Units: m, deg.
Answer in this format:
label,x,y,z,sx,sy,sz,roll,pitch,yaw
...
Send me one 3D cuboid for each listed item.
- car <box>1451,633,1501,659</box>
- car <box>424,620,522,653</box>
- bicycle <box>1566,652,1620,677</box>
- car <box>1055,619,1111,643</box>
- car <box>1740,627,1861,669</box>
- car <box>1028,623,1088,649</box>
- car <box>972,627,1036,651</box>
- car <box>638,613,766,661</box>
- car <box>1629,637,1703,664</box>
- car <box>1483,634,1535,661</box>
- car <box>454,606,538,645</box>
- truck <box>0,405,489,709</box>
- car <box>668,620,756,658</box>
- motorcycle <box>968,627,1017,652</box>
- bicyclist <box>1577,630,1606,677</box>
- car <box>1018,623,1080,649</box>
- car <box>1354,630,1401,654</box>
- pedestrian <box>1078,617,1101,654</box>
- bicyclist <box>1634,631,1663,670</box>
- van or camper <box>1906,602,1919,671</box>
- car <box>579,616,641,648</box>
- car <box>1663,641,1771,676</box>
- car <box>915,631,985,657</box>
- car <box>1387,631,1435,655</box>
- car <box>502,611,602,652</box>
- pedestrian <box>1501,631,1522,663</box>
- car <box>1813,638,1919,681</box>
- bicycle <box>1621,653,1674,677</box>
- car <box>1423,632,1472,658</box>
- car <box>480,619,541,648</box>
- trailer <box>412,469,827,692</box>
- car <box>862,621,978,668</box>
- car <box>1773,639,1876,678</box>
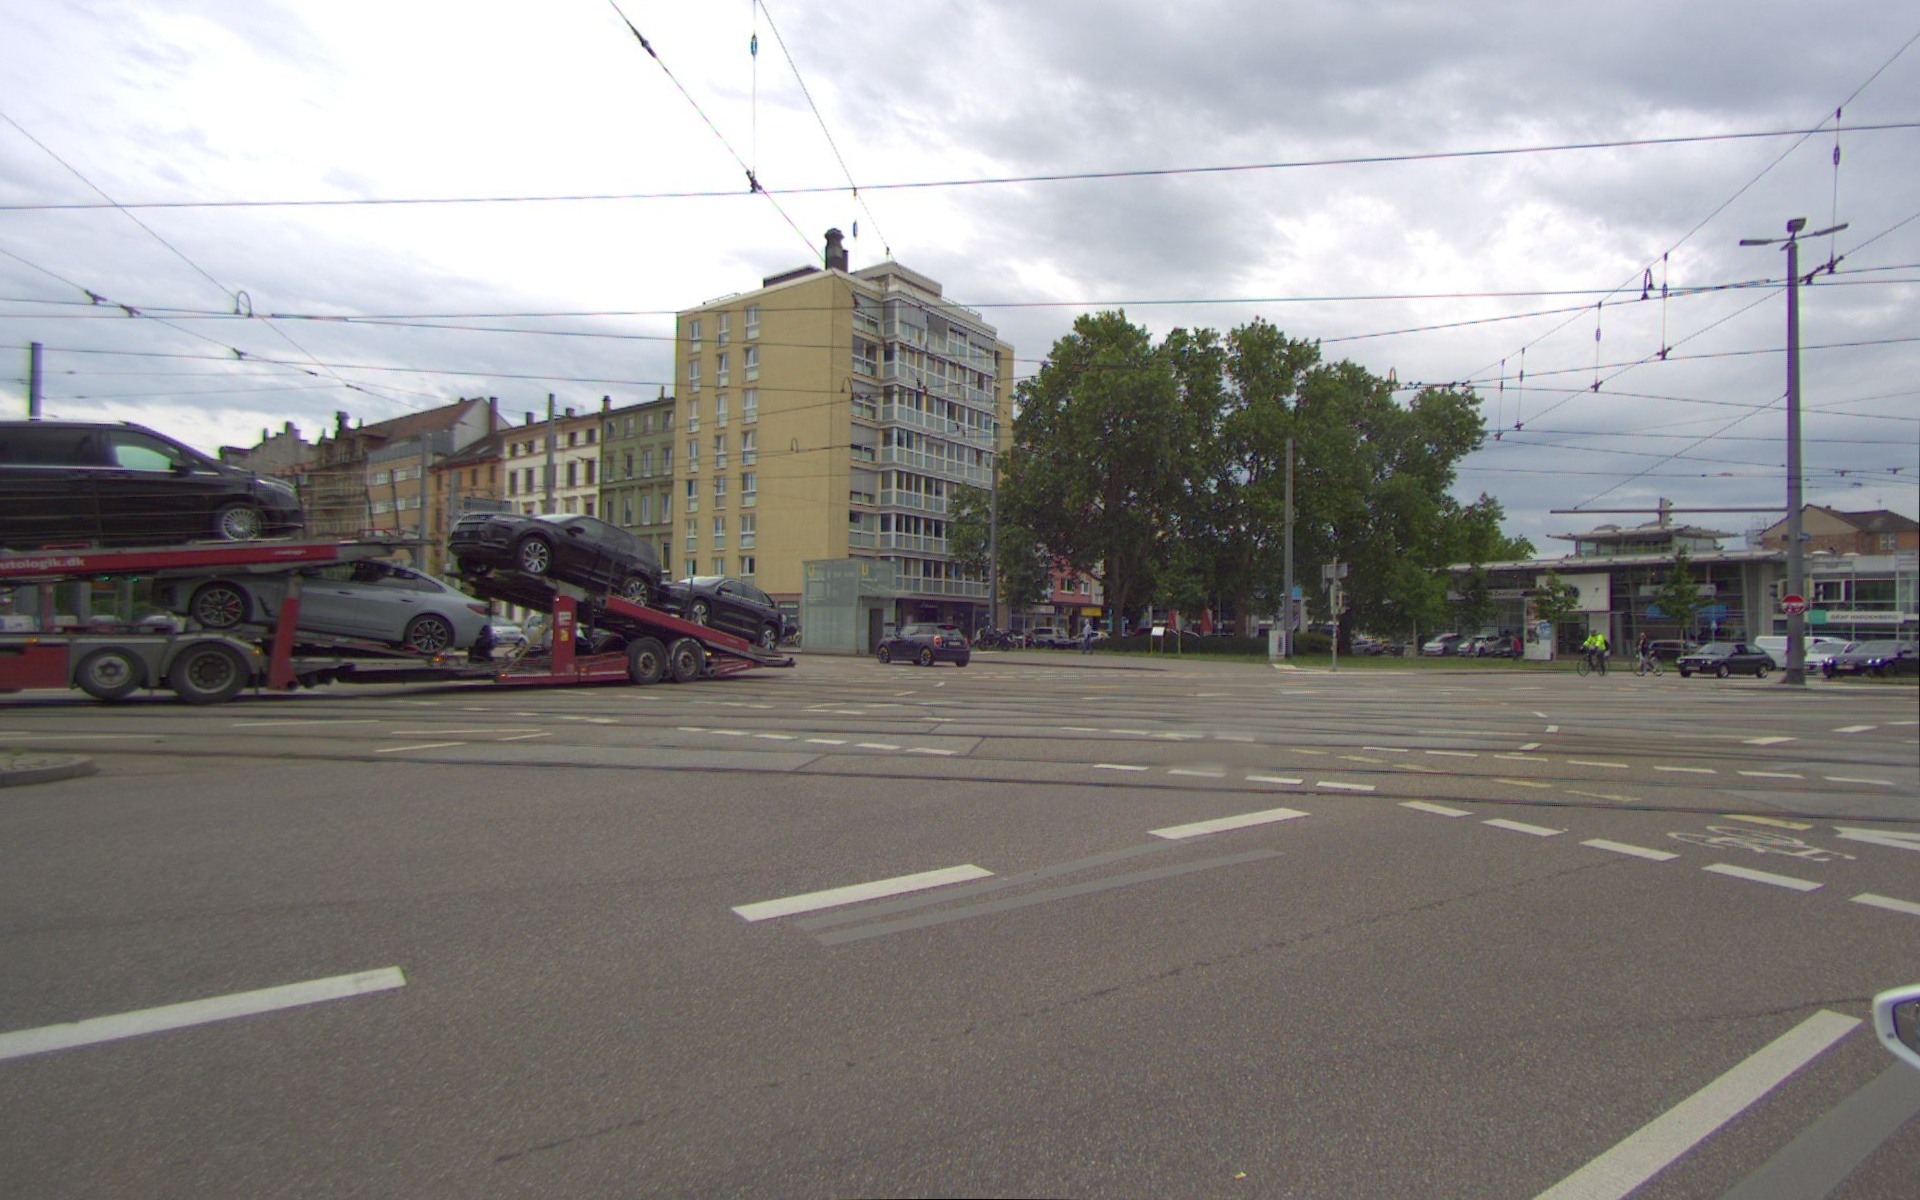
label,x,y,z,sx,sy,sz,roll,pitch,yaw
car,42.859,3.792,83.356,3.957,2.040,1.982,2,-1,-33
car,-21.213,1.580,43.769,3.929,1.327,1.996,0,-2,31
bicycle,24.940,2.527,39.571,2.187,0.942,0.518,1,-1,-17
car,9.696,2.442,79.231,3.931,1.728,1.995,1,-1,33
car,46.556,2.629,55.786,2.089,2.040,4.758,2,-1,-20
car,7.309,2.662,74.816,3.931,1.728,1.995,1,-1,33
car,3.044,2.639,68.996,3.932,1.572,1.995,0,-2,33
car,-8.770,1.221,33.981,4.612,1.513,1.989,-1,-2,43
car,40.377,2.889,57.436,3.679,1.439,1.634,1,-1,-19
car,44.188,3.798,80.843,3.957,2.040,1.982,2,-1,-33
car,-22.923,1.238,49.587,3.933,1.751,1.994,1,-1,34
truck,-12.903,-0.548,14.757,10.366,3.972,2.982,2,-1,-39
car,-11.093,1.713,44.885,3.939,1.514,1.815,1,-1,40
motorcycle,1.687,2.063,52.585,2.507,1.194,0.861,1,-1,37
bicyclist,24.893,2.088,39.580,0.784,1.827,0.627,1,-1,-17
car,6.405,2.584,72.493,3.931,1.728,1.995,1,-1,33
car,37.694,3.785,90.683,3.957,2.040,1.982,2,-1,-33
pedestrian,6.321,1.724,49.058,0.898,1.742,0.707,1,-1,24
bicyclist,27.788,2.029,40.556,0.843,1.528,0.565,0,-1,-17
van or camper,40.123,1.515,39.136,5.962,2.645,2.411,2,-1,-21
car,-20.367,1.840,58.675,2.040,1.778,4.001,2,-1,2
car,29.103,2.248,38.626,3.683,1.263,1.683,1,-1,-22
car,-0.655,2.719,62.554,3.932,1.572,1.995,0,-2,33
car,39.452,3.774,87.898,3.957,2.040,1.982,2,-1,-33
car,-16.217,1.242,39.930,3.559,1.513,1.995,1,-1,33
pedestrian,34.089,2.880,62.069,0.846,1.925,0.708,2,0,-8
car,33.372,2.143,36.293,4.594,1.439,1.990,1,-1,-22
bicycle,27.765,2.614,40.546,2.187,0.938,0.518,1,-1,-17
car,41.436,3.820,85.420,3.957,2.040,1.982,2,-1,-33
car,-29.353,2.145,65.737,2.040,1.778,4.001,2,-1,2
trailer,-7.091,-0.254,23.070,2.942,4.025,9.541,1,-1,28
car,-1.419,1.495,34.508,3.946,1.488,1.765,-1,-2,44
car,34.480,2.325,40.077,3.683,1.439,1.632,1,-1,-22
